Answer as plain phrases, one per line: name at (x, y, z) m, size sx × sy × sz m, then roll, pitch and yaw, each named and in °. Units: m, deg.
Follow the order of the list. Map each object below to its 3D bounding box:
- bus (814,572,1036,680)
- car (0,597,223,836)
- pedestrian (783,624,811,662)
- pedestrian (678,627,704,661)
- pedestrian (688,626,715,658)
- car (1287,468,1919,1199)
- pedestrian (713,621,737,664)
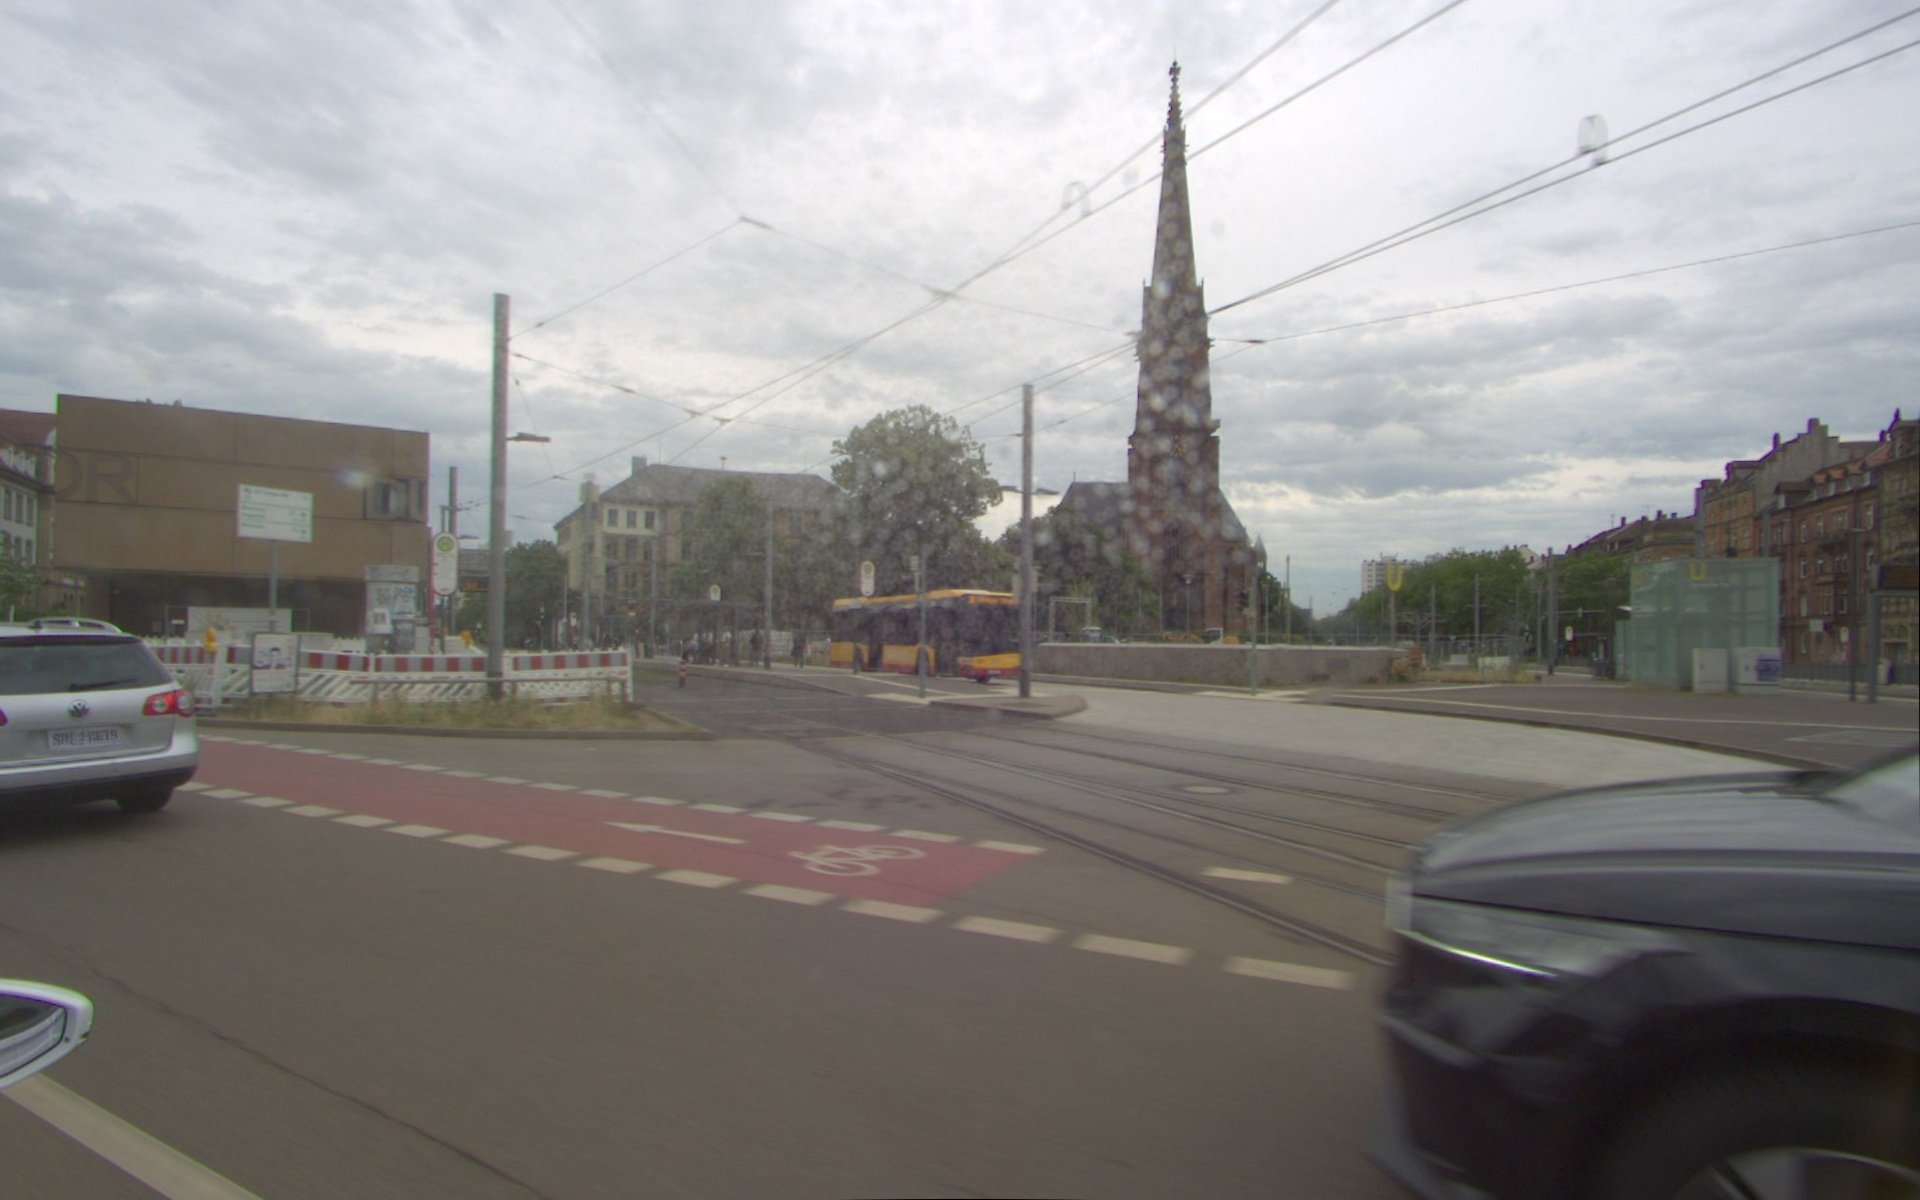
bus at (-1.860, 1.022, 37.191) m, size 2.981 × 3.309 × 12.987 m, roll 2°, pitch -2°, yaw -27°
car at (-7.823, 0.741, 7.728) m, size 4.558 × 1.501 × 1.719 m, roll 0°, pitch -1°, yaw 29°
pedestrian at (-7.233, 1.900, 44.428) m, size 0.992 × 1.666 × 1.017 m, roll 1°, pitch -1°, yaw -24°
pedestrian at (-12.851, 2.112, 47.826) m, size 1.005 × 1.596 × 1.004 m, roll 1°, pitch -1°, yaw -25°
pedestrian at (-11.904, 1.926, 46.077) m, size 1.005 × 1.420 × 1.004 m, roll 1°, pitch -1°, yaw -24°
car at (3.030, 0.672, 1.619) m, size 4.449 × 1.679 × 1.901 m, roll 0°, pitch -2°, yaw 32°
pedestrian at (-10.114, 1.816, 43.053) m, size 0.813 × 1.831 × 1.017 m, roll 1°, pitch -1°, yaw -24°
